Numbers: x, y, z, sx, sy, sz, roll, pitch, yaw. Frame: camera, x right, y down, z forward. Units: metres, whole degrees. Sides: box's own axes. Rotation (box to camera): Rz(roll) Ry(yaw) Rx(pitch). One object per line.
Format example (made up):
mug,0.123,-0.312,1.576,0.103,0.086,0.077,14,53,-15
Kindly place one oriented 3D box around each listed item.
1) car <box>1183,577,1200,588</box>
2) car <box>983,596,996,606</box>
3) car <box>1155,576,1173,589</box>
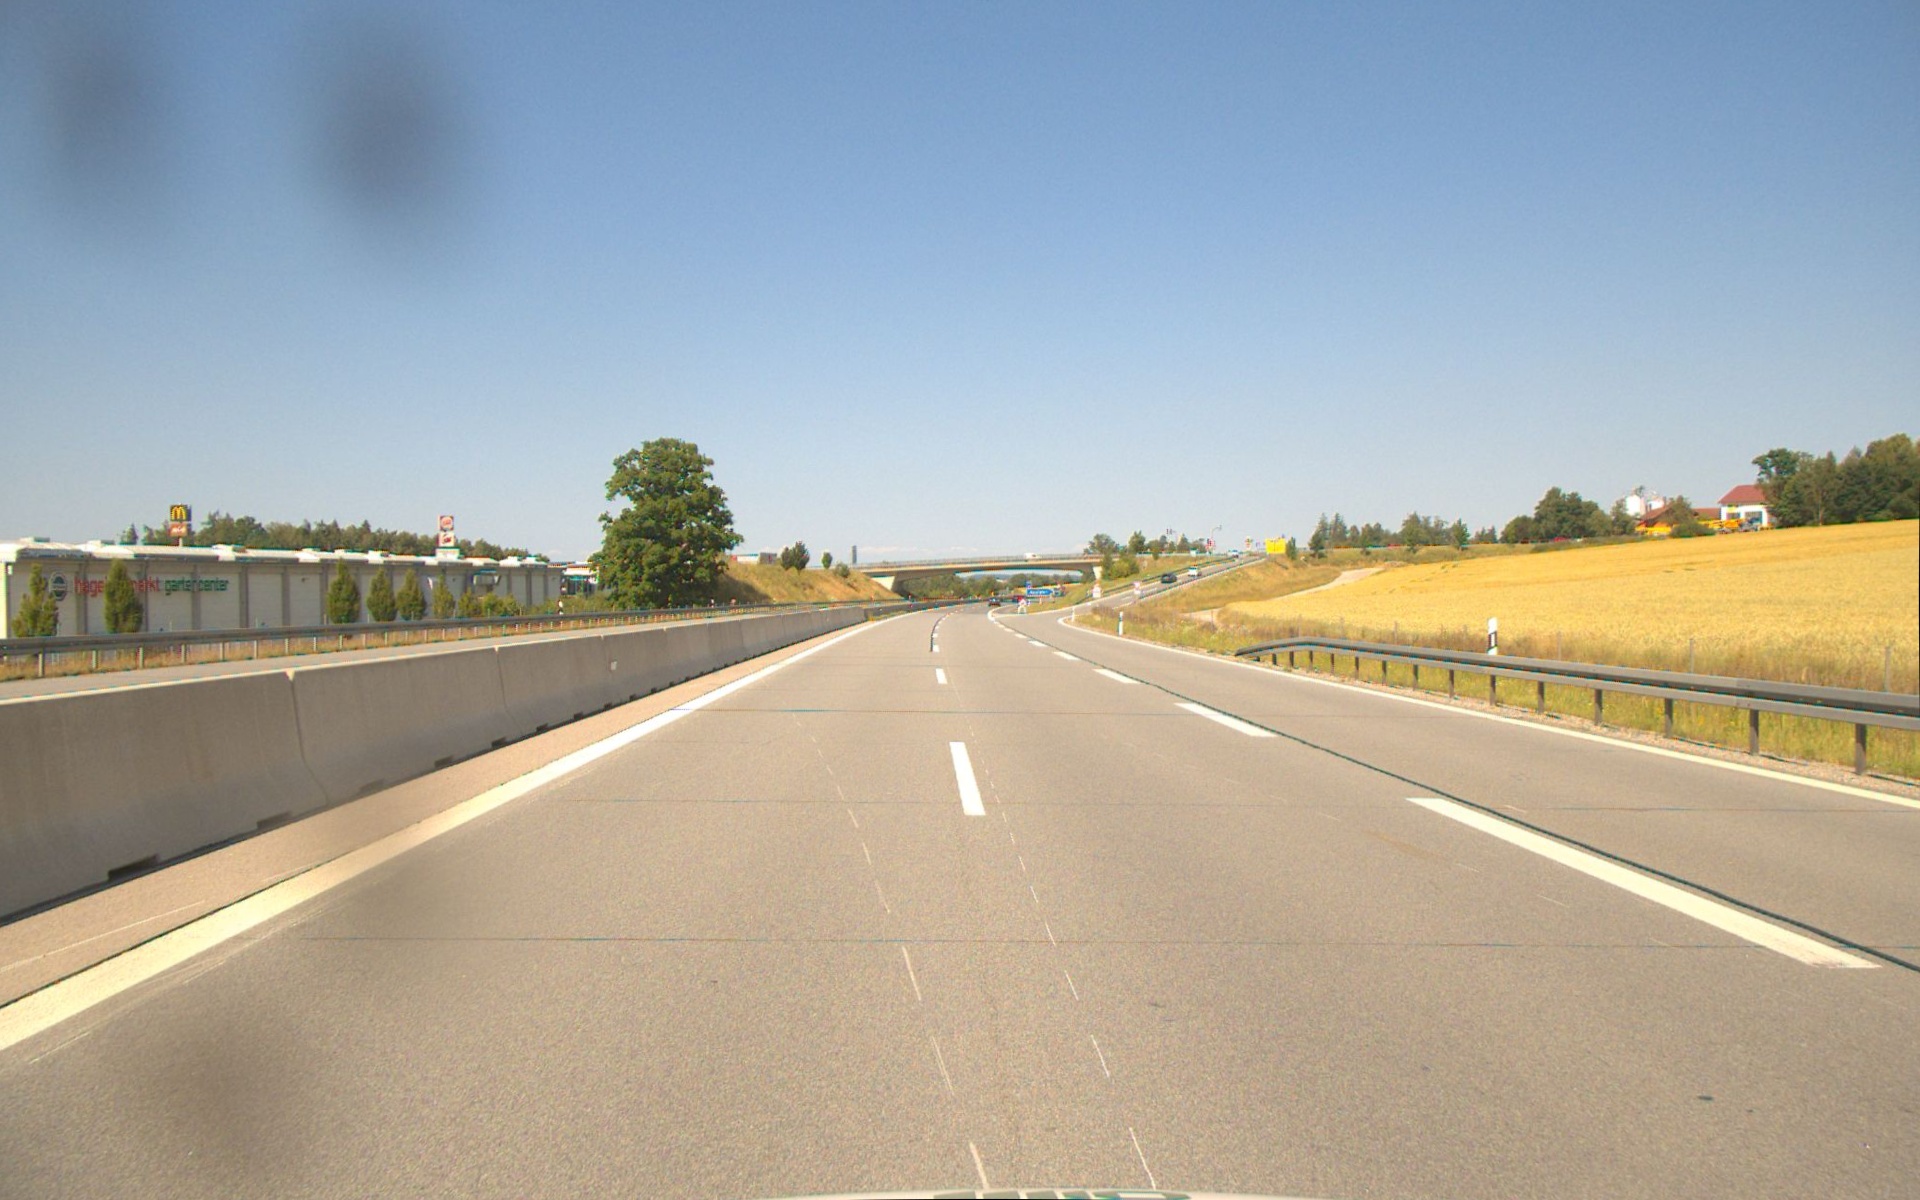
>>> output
car,35.472,-2.700,253.599,1.951,1.646,4.002,-2,0,17
car,4.555,0.159,254.572,1.952,1.445,4.001,-2,0,2
car,31.265,-2.681,253.567,1.951,2.049,4.002,-2,0,17
